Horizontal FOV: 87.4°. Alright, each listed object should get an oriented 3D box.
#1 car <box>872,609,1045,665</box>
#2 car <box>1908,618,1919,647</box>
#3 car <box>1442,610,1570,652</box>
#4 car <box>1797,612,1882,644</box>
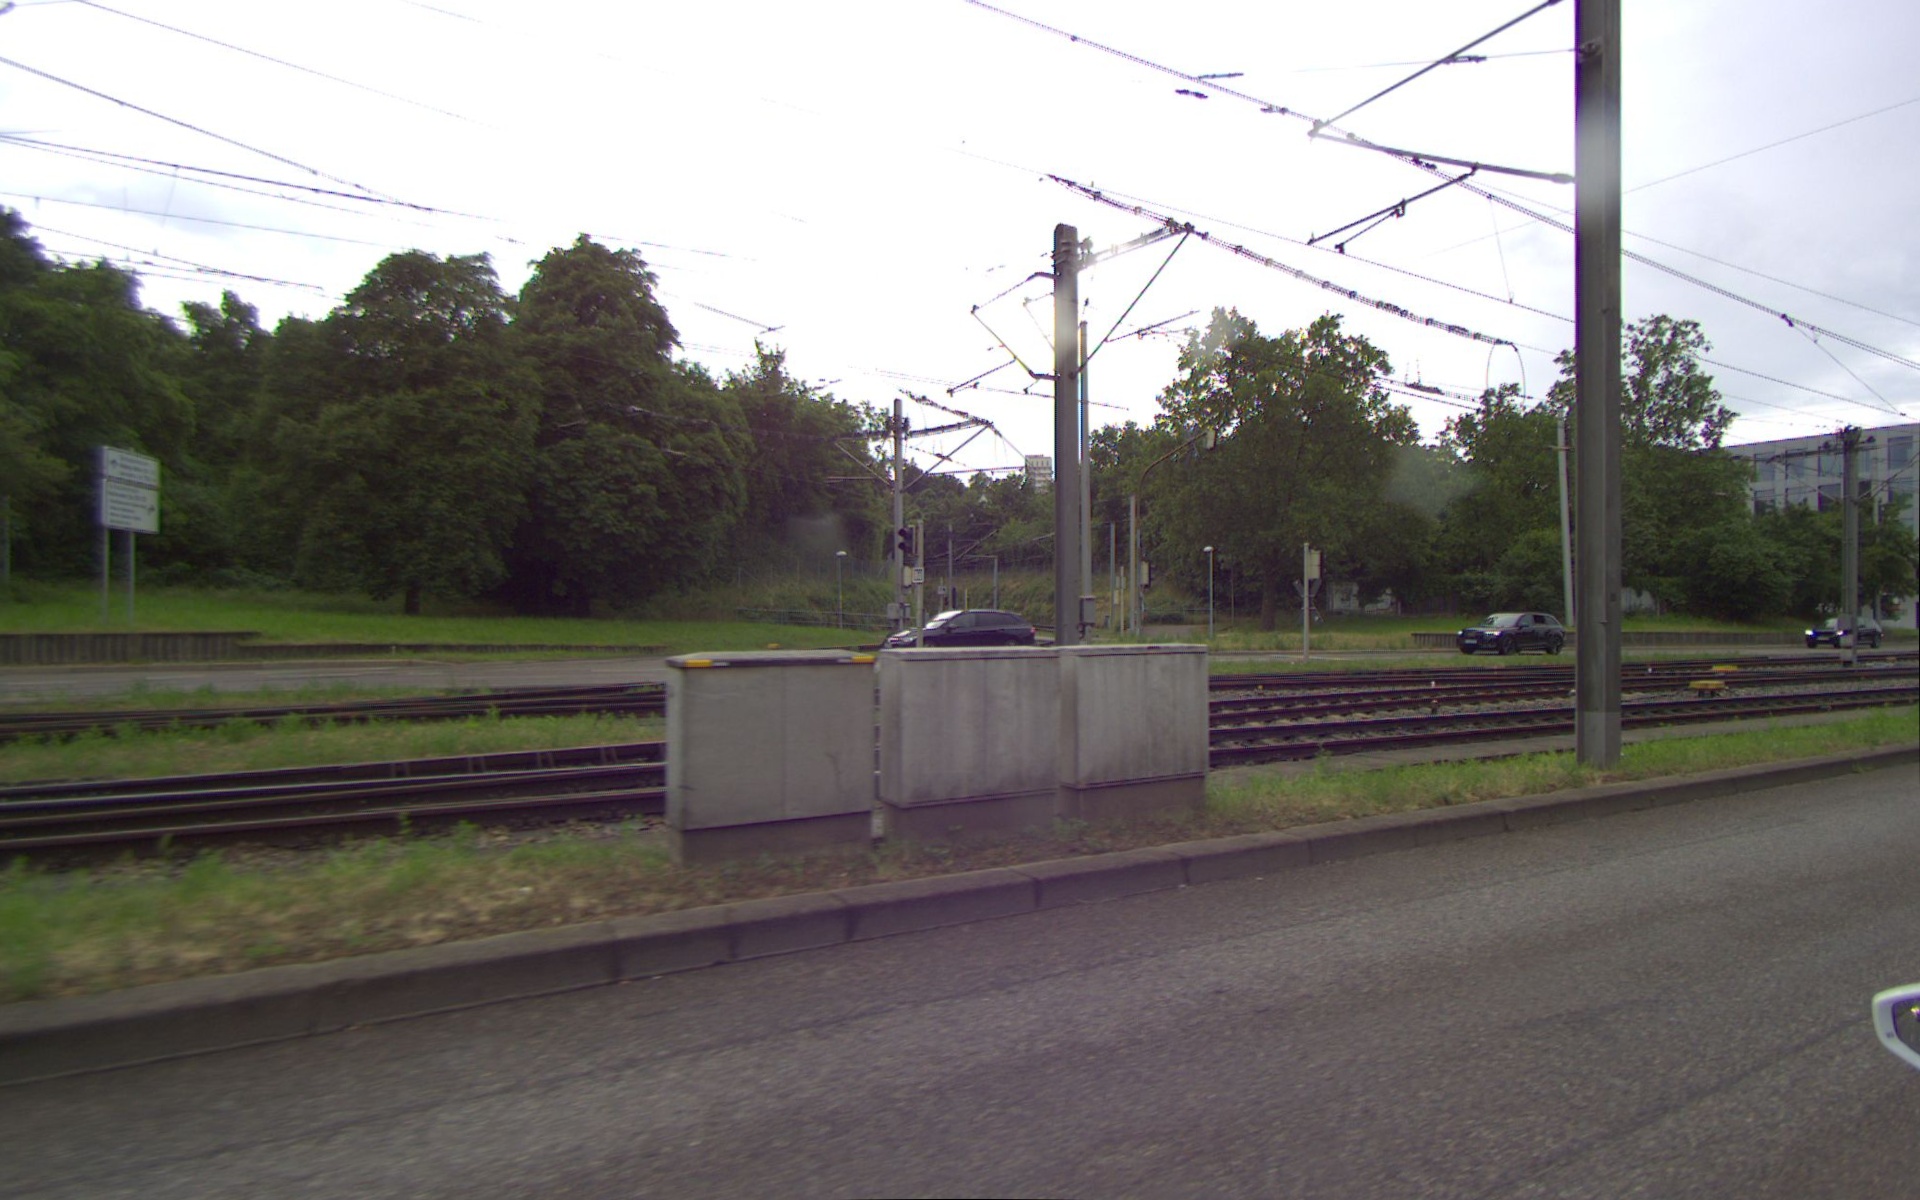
[{"bbox_3d":[-0.021,1.016,28.678,4.625,1.466,1.918,1,-1,-29],"label":"car"},{"bbox_3d":[51.802,1.725,52.623,4.254,1.506,1.884,1,-1,-28],"label":"car"},{"bbox_3d":[22.008,1.206,40.460,5.093,1.610,2.081,1,-1,-28],"label":"car"},{"bbox_3d":[46.281,1.474,52.835,4.789,1.616,1.939,1,-1,-30],"label":"car"}]
